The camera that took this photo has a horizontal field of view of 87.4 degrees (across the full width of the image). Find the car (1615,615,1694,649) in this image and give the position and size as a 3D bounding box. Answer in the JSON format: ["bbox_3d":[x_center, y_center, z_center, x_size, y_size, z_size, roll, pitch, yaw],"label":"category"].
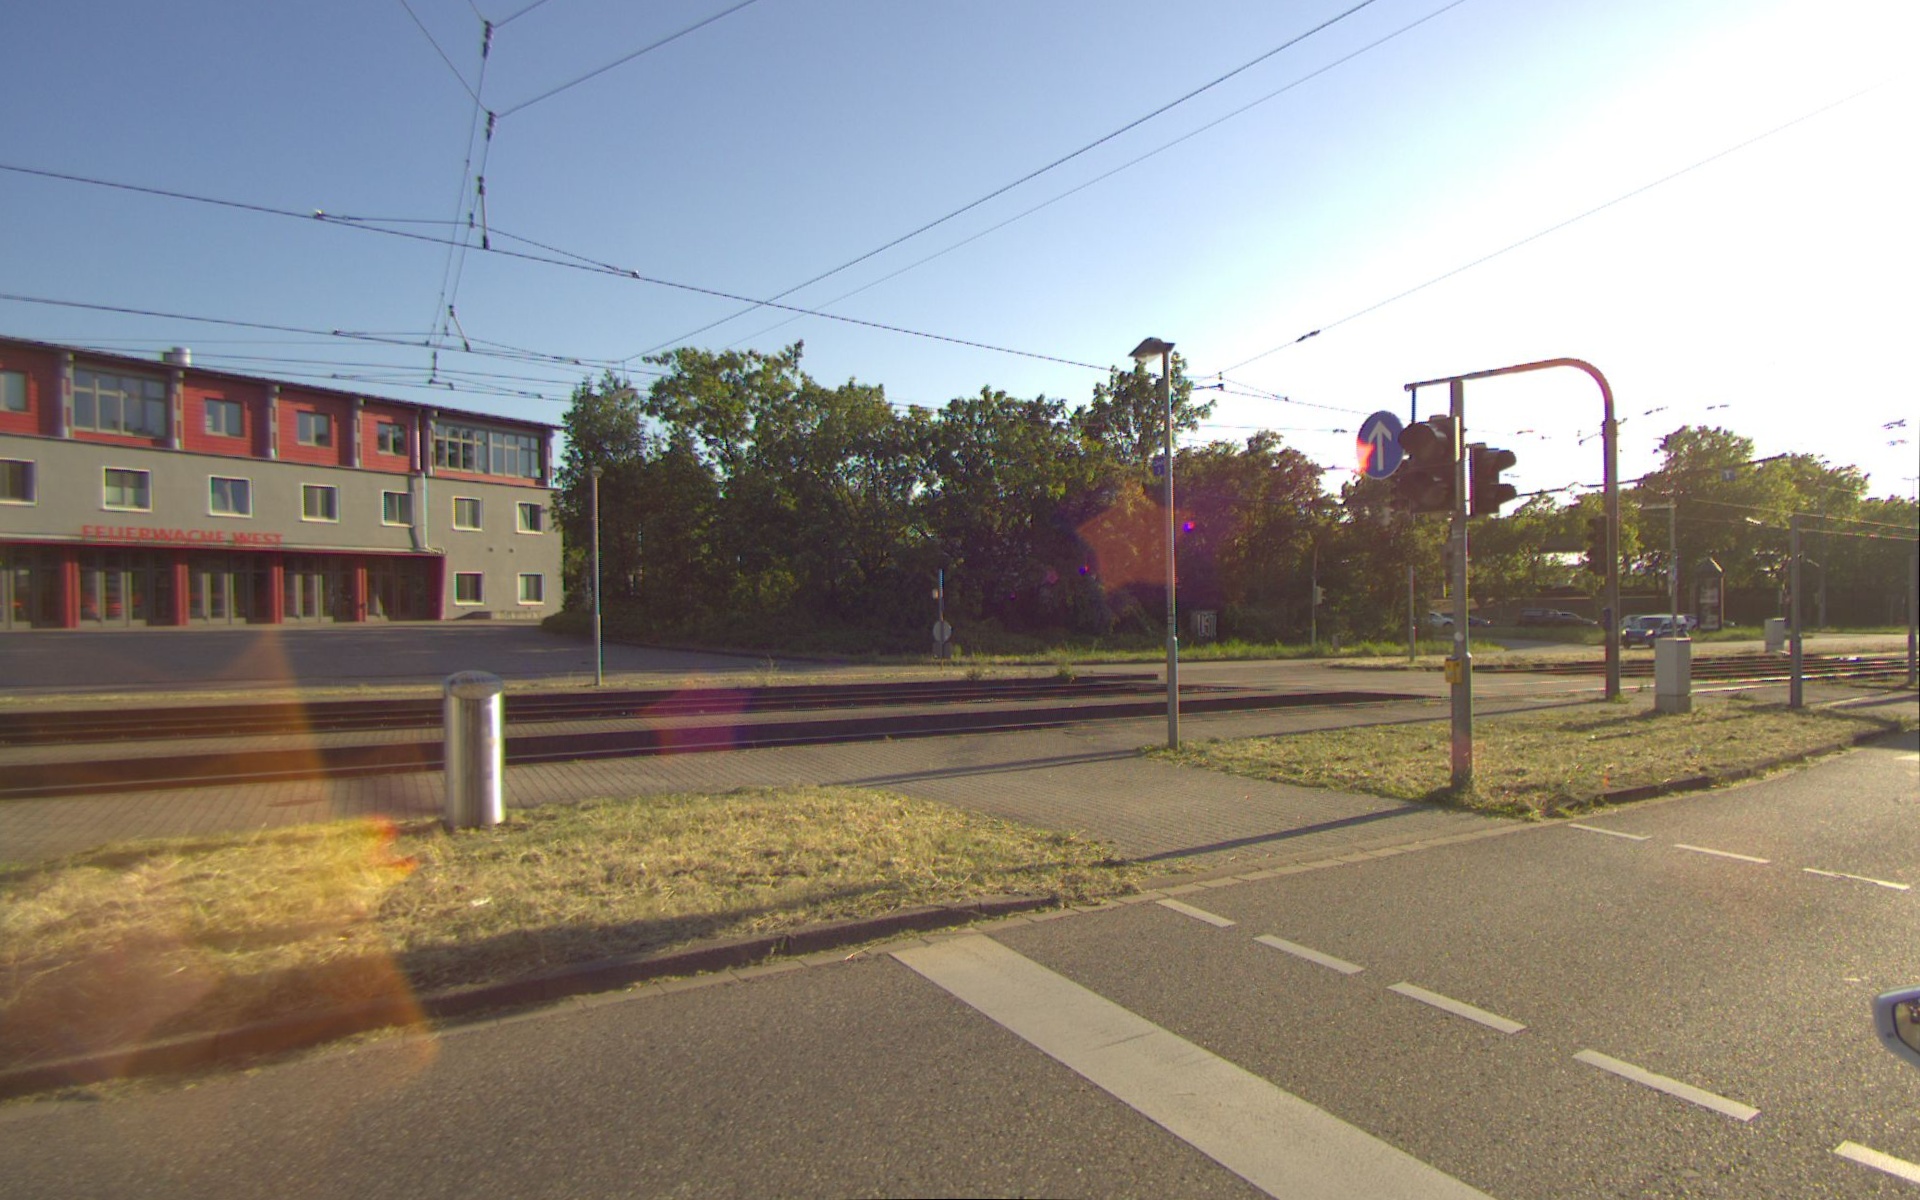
[{"bbox_3d":[38.184,1.730,55.236,4.207,1.811,1.925,0,-1,-29],"label":"car"}]

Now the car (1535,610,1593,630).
[{"bbox_3d":[50.549,1.623,84.095,4.176,1.596,1.689,0,0,33],"label":"car"}]

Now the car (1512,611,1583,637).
[{"bbox_3d":[47.520,1.936,81.336,4.855,2.017,2.033,0,0,30],"label":"car"}]

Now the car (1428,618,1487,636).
[{"bbox_3d":[43.797,2.375,88.500,4.544,1.478,1.690,0,0,31],"label":"car"}]

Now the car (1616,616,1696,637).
[{"bbox_3d":[55.843,2.096,80.669,5.280,1.596,1.734,0,0,36],"label":"car"}]

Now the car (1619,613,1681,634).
[{"bbox_3d":[53.669,1.799,78.188,3.932,1.596,1.689,0,0,34],"label":"car"}]

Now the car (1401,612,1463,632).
[{"bbox_3d":[40.393,1.877,85.919,4.682,1.595,1.691,-1,-2,29],"label":"car"}]
